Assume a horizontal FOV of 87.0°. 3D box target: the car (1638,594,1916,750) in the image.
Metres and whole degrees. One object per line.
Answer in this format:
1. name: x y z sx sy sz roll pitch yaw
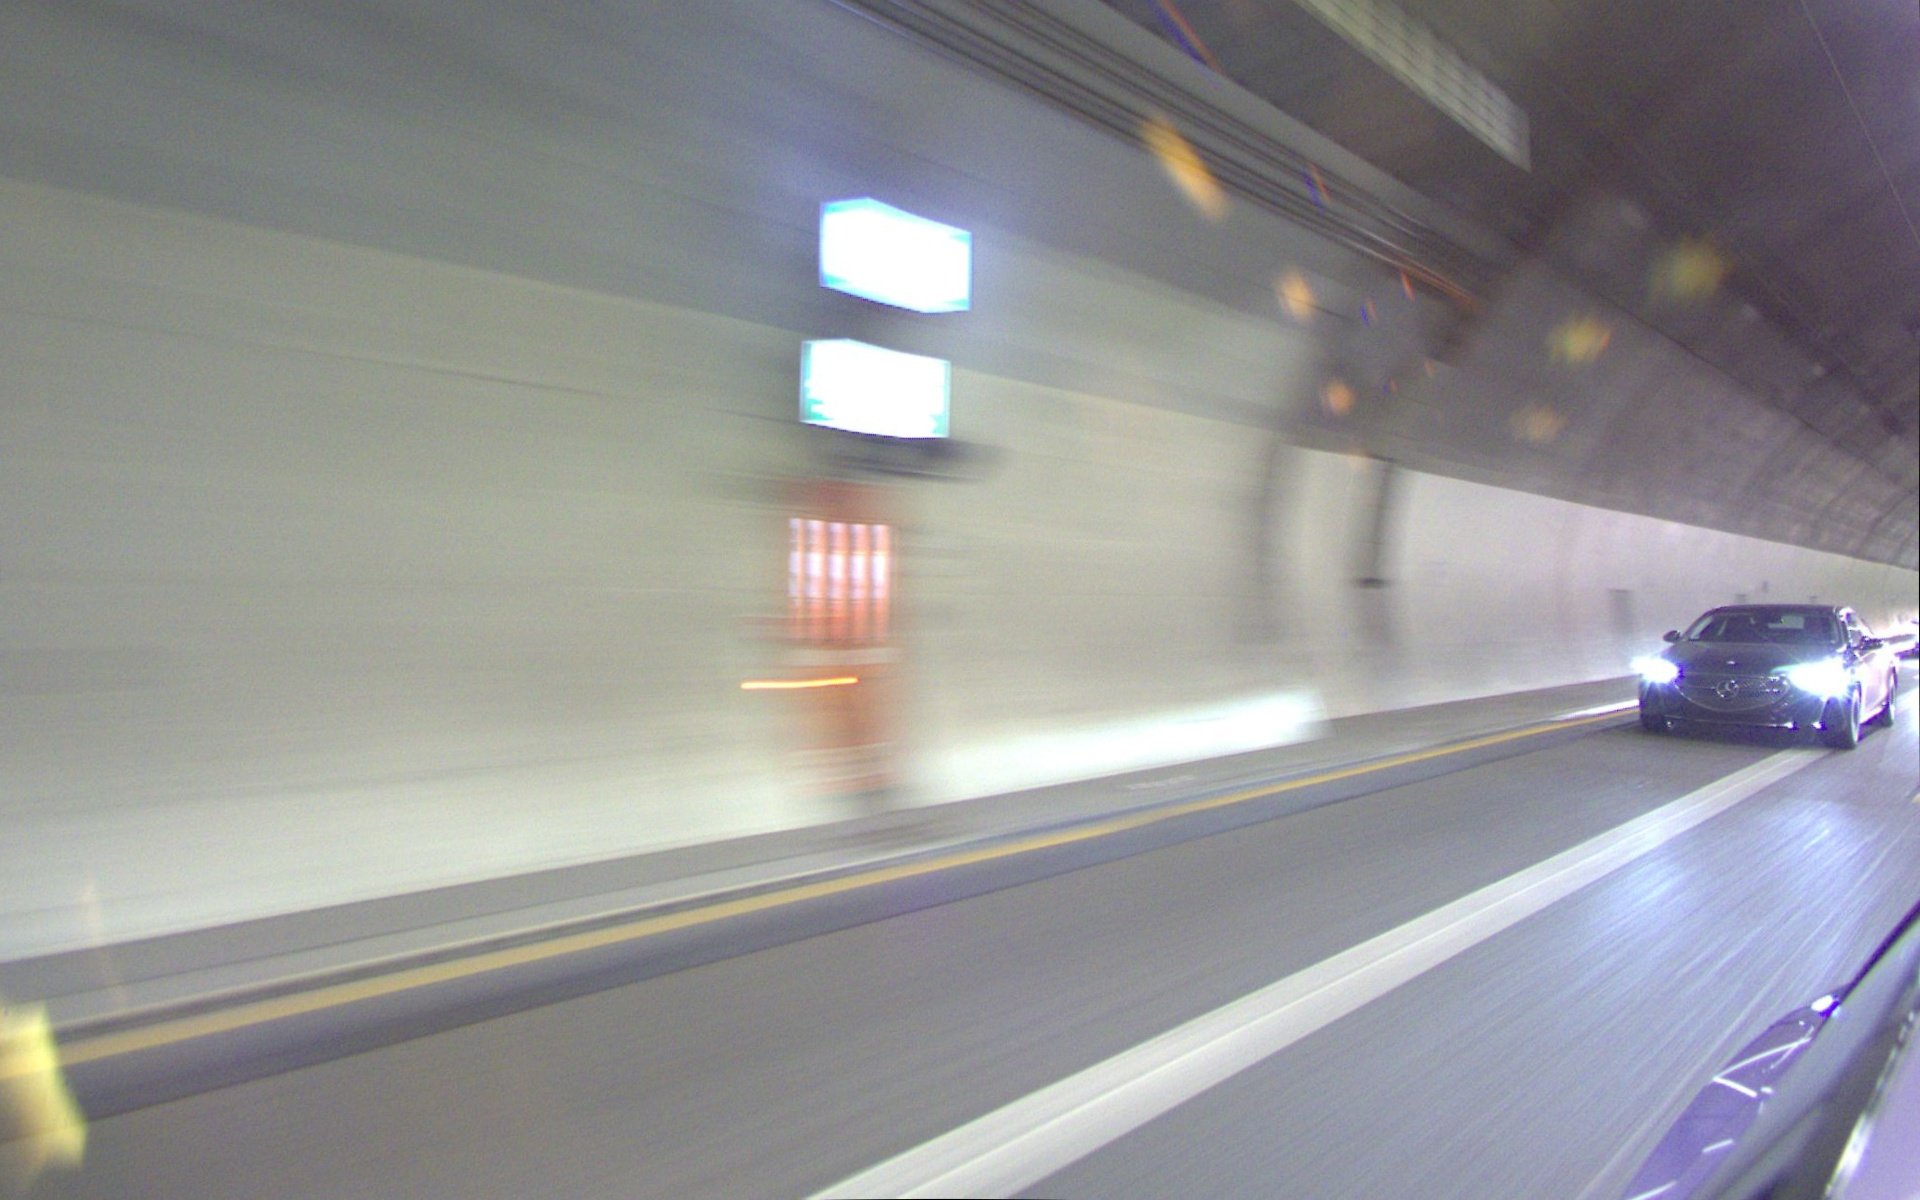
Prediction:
1. car: 9.671 0.686 11.850 4.443 1.496 1.824 0 0 -41

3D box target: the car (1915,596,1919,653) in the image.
1. car: 28.552 0.657 28.492 4.660 1.560 1.996 -1 0 -41
